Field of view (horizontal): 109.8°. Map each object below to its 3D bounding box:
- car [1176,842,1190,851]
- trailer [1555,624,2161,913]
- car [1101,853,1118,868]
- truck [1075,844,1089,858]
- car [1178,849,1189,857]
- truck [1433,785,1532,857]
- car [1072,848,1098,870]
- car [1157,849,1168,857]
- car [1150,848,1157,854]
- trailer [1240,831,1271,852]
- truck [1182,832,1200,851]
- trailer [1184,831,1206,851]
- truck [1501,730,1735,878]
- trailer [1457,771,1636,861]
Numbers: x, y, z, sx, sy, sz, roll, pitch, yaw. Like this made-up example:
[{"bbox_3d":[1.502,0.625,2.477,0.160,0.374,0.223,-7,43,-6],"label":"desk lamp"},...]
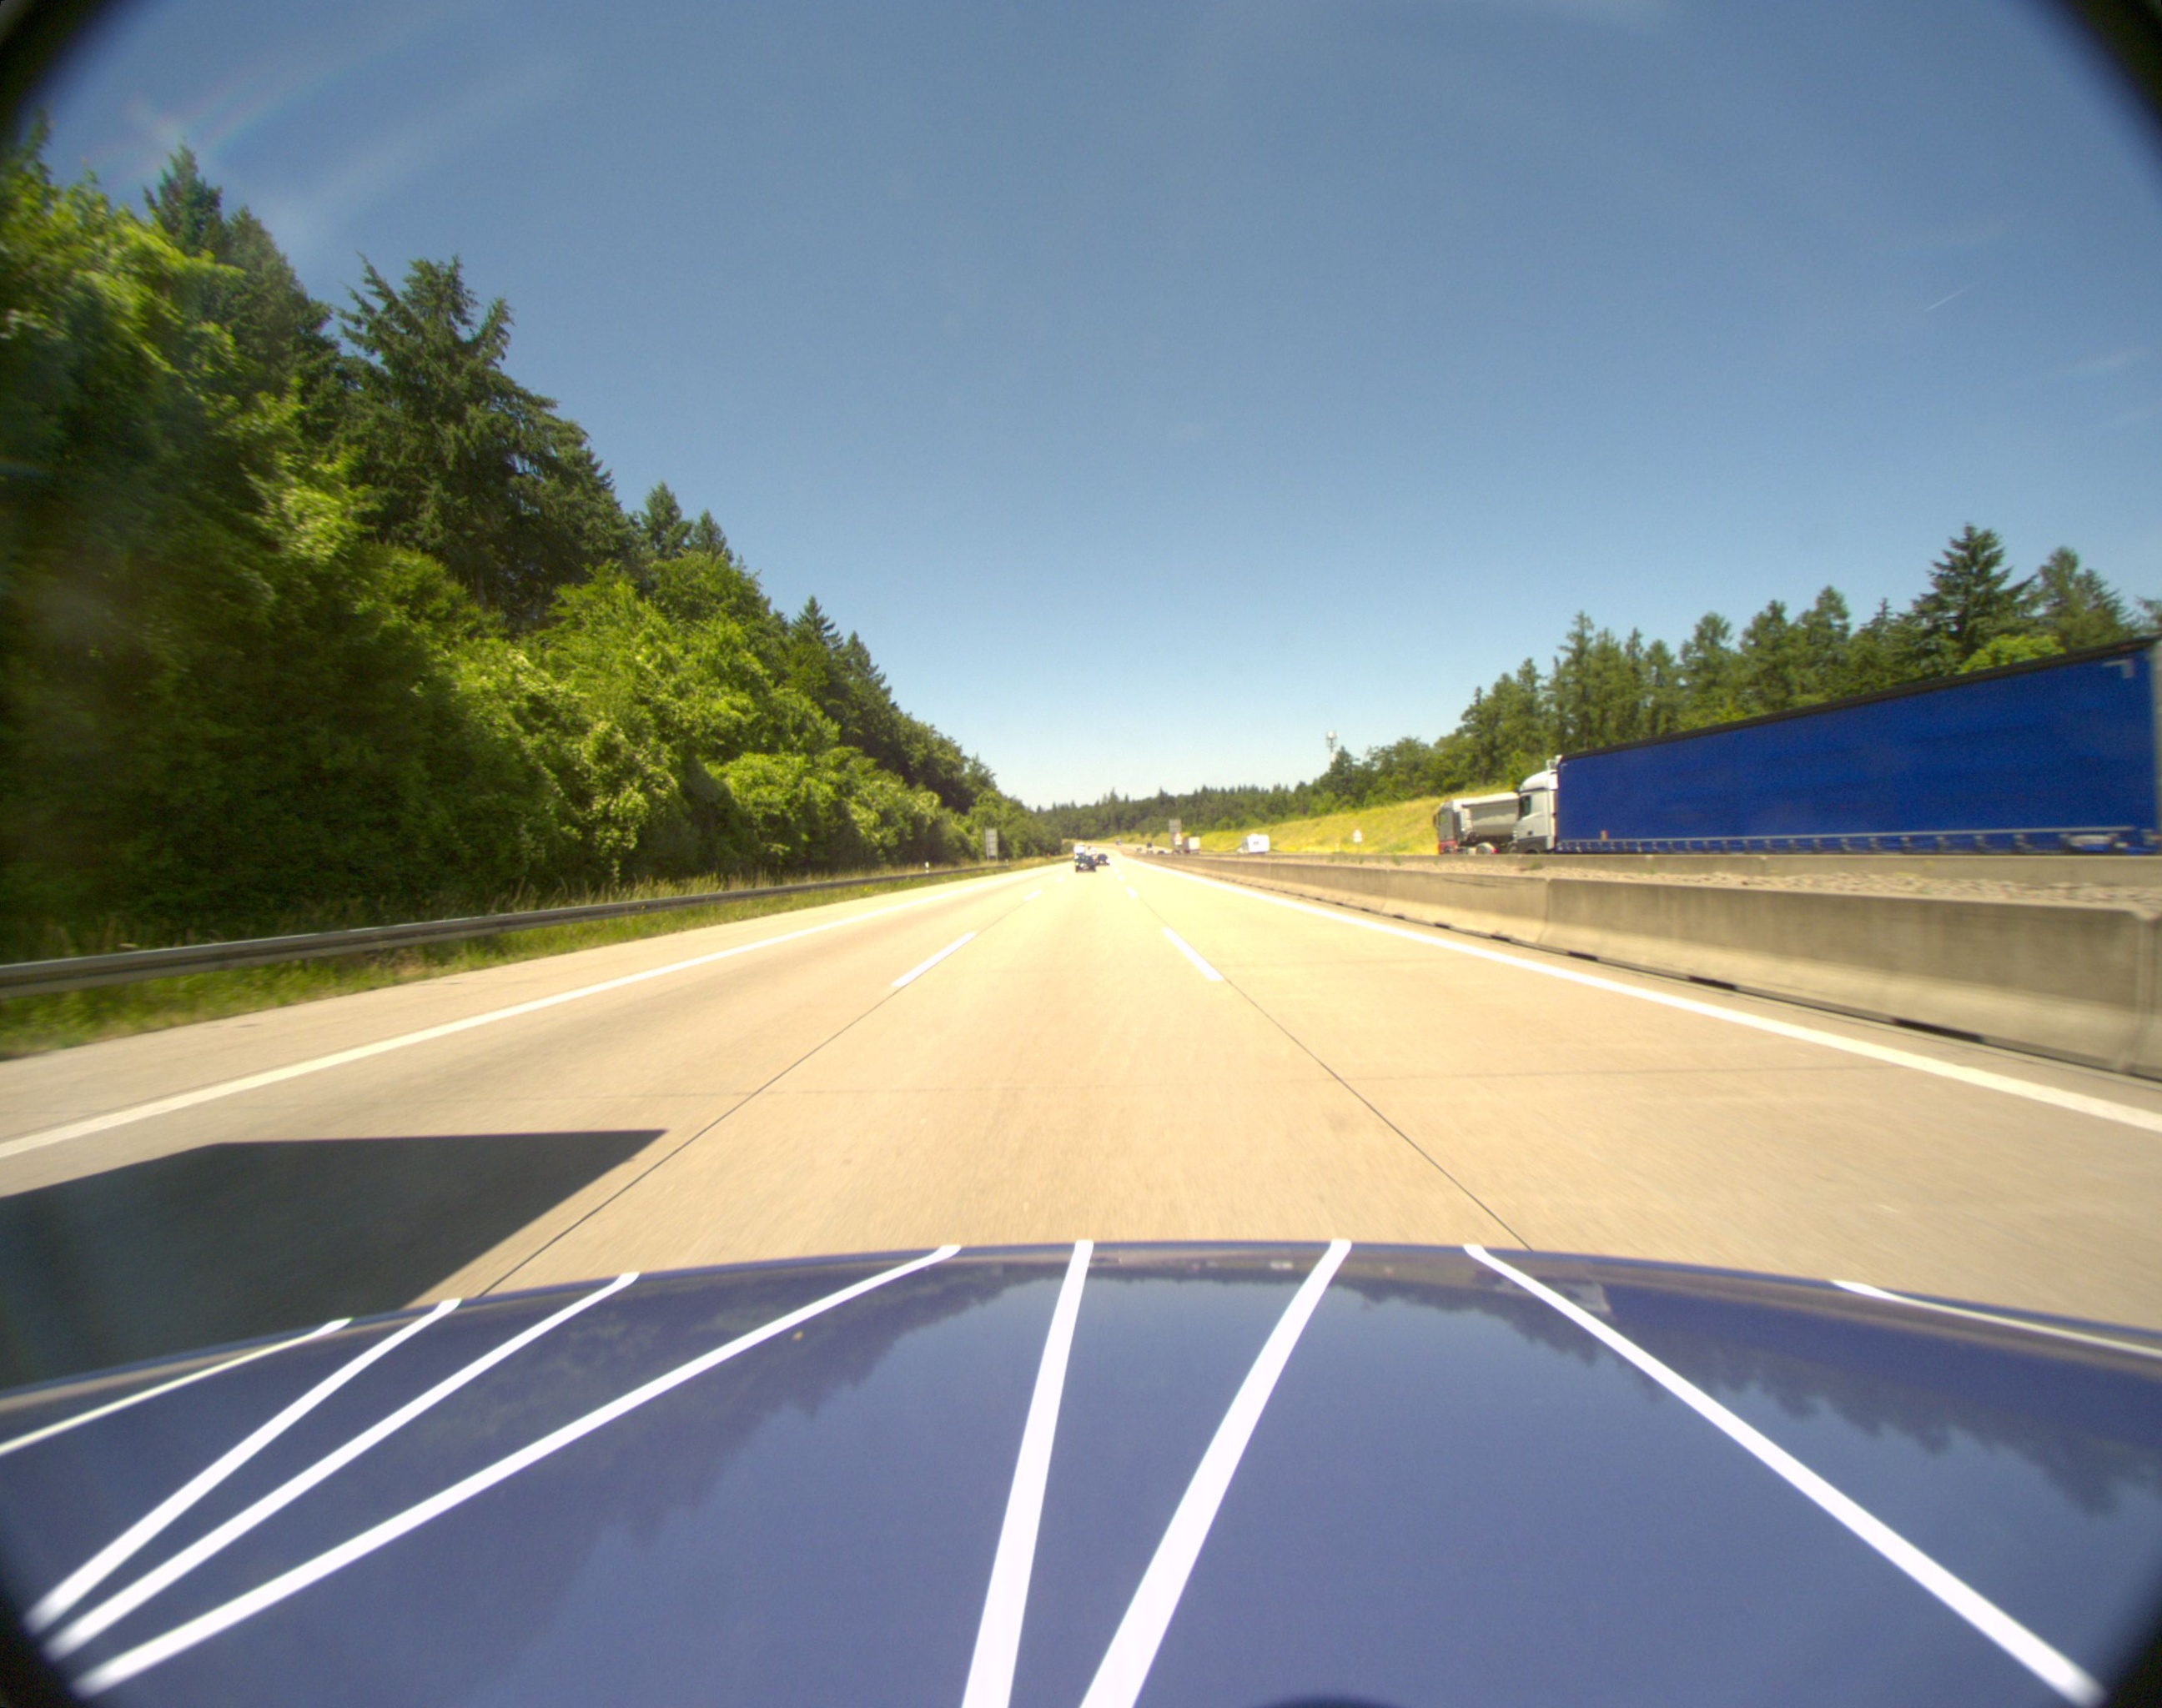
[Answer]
[{"bbox_3d":[17.029,-1.238,127.151,1.998,1.510,4.000,-3,0,2],"label":"car"},{"bbox_3d":[16.391,-1.347,16.813,3.169,3.909,13.865,-4,1,1],"label":"trailer"},{"bbox_3d":[3.688,0.857,98.500,1.998,1.694,4.400,-4,1,3],"label":"car"},{"bbox_3d":[0.266,-0.647,166.662,2.483,2.779,5.915,-4,1,3],"label":"truck"},{"bbox_3d":[21.867,-0.230,162.231,1.998,1.549,4.499,-3,0,2],"label":"car"},{"bbox_3d":[20.864,-1.647,39.772,2.732,3.394,4.512,-4,1,2],"label":"truck"},{"bbox_3d":[0.375,0.425,66.209,1.930,1.694,4.400,-4,1,3],"label":"car"},{"bbox_3d":[18.290,-0.191,170.898,1.998,1.549,4.499,-3,0,2],"label":"car"},{"bbox_3d":[21.595,-0.933,226.532,1.998,1.682,4.372,-3,0,2],"label":"car"},{"bbox_3d":[23.171,-1.611,101.318,2.612,2.616,7.782,-3,0,2],"label":"trailer"},{"bbox_3d":[27.348,-3.183,189.007,3.395,4.406,6.800,-4,1,2],"label":"truck"},{"bbox_3d":[27.083,-3.064,181.844,3.395,4.406,13.924,-4,1,2],"label":"trailer"},{"bbox_3d":[16.526,-1.432,24.004,3.169,3.910,5.836,-4,1,1],"label":"truck"},{"bbox_3d":[20.686,-1.563,34.637,2.732,3.393,8.954,-4,1,2],"label":"trailer"}]
